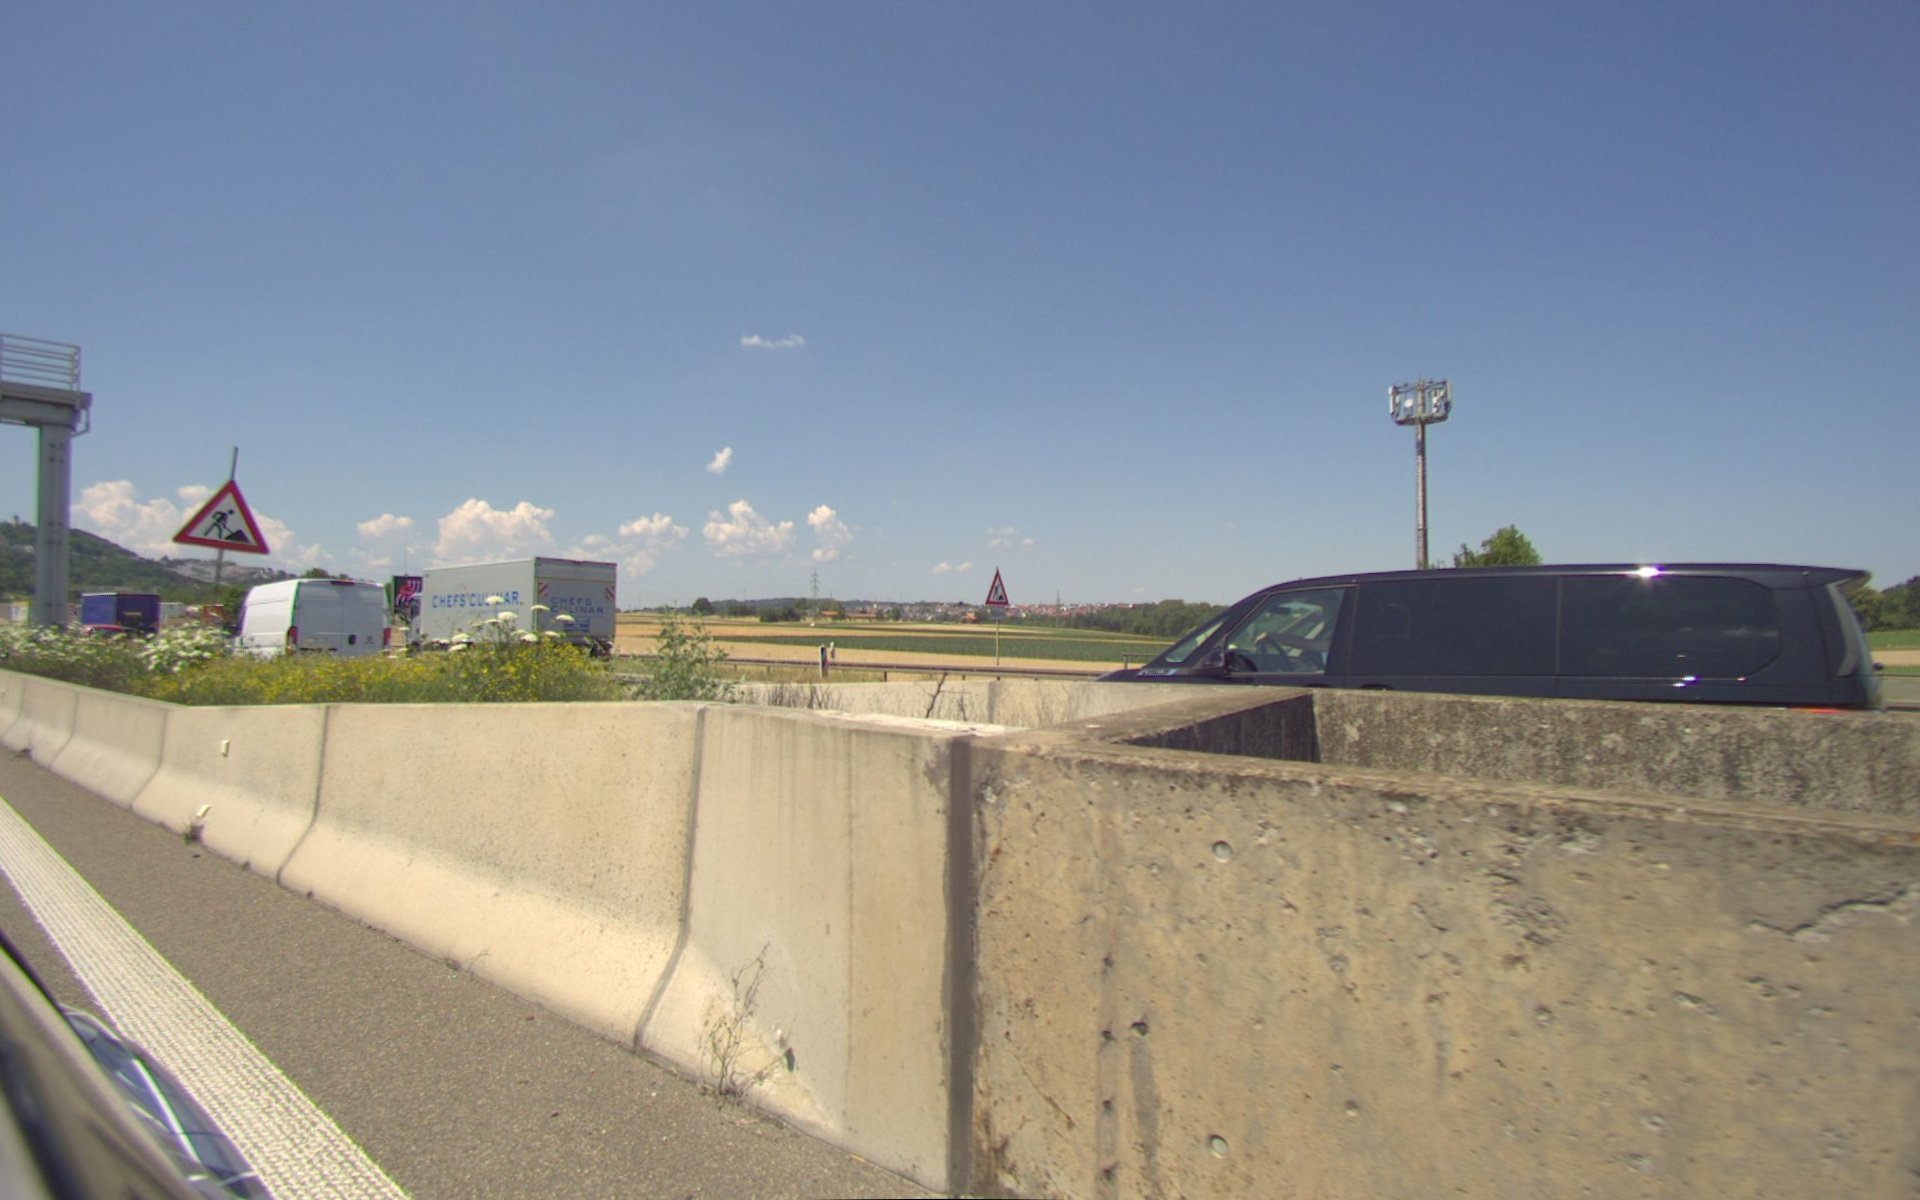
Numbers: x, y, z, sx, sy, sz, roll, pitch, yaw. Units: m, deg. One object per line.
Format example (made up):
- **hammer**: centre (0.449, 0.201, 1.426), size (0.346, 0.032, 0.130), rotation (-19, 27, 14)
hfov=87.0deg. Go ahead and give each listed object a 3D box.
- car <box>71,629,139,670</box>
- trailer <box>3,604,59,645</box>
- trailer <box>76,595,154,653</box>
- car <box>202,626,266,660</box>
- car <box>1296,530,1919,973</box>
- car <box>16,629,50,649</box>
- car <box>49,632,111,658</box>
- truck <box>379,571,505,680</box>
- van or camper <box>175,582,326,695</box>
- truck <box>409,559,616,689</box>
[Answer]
- **car**: centre (-35.238, 2.005, 41.682), size (3.702, 1.582, 1.543), rotation (-2, -2, 41)
- **trailer**: centre (-98.740, 2.626, 107.500), size (14.122, 4.160, 2.780), rotation (-2, -3, 41)
- **trailer**: centre (-64.581, 1.874, 77.174), size (14.090, 4.118, 2.361), rotation (-2, -3, 41)
- **car**: centre (-38.570, 2.276, 53.747), size (4.078, 1.732, 1.813), rotation (-1, -4, 41)
- **car**: centre (4.557, 0.700, 5.534), size (4.792, 1.961, 1.973), rotation (-1, -2, 41)
- **car**: centre (-74.411, 3.112, 81.208), size (4.227, 1.519, 1.571), rotation (-2, -3, 42)
- **car**: centre (-48.085, 2.464, 55.269), size (4.276, 1.334, 1.814), rotation (-2, -4, 39)
- **truck**: centre (-18.403, 0.949, 35.917), size (3.999, 3.615, 2.669), rotation (-2, -4, 42)
- **van or camper**: centre (-18.246, 0.974, 25.962), size (4.395, 2.649, 2.126), rotation (-1, -2, 41)
- **truck**: centre (-14.456, 0.819, 32.273), size (8.785, 3.648, 2.670), rotation (-2, -4, 43)
